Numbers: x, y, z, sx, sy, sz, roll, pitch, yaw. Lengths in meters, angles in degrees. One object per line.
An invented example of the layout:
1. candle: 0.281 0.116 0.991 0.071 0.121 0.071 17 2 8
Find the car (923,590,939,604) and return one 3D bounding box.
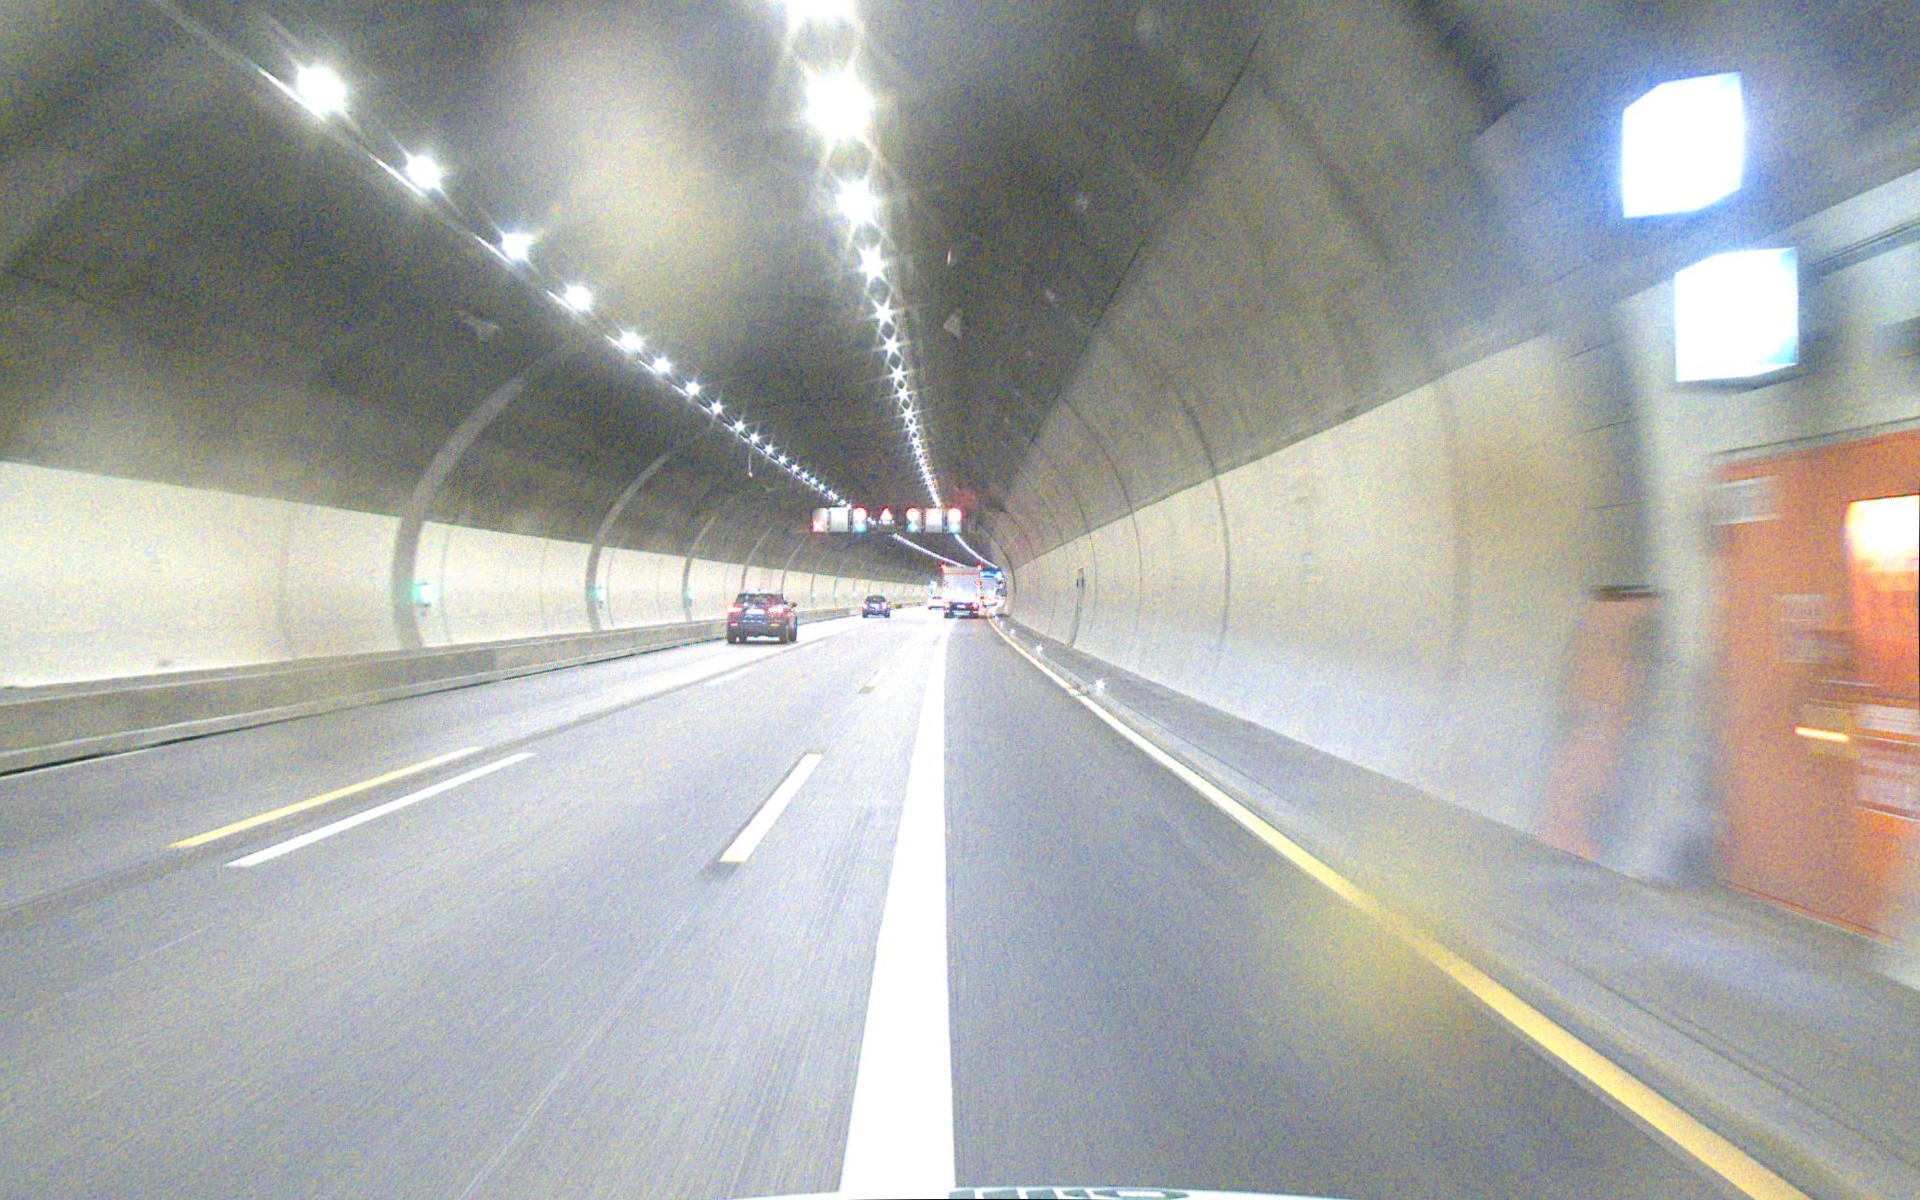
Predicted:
1. car: -2.934 -0.306 168.912 1.617 1.297 4.000 -2 2 -1

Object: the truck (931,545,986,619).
1. truck: -0.251 -1.281 118.816 3.213 4.730 17.281 -3 1 -2

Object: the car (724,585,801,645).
1. car: -5.943 0.412 50.080 1.775 1.646 4.000 -2 1 0

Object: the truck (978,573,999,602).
1. truck: 4.319 -1.874 247.343 2.862 4.118 14.032 -3 1 1

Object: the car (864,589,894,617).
1. car: -5.217 0.176 107.248 1.776 1.546 4.000 -2 2 -1
